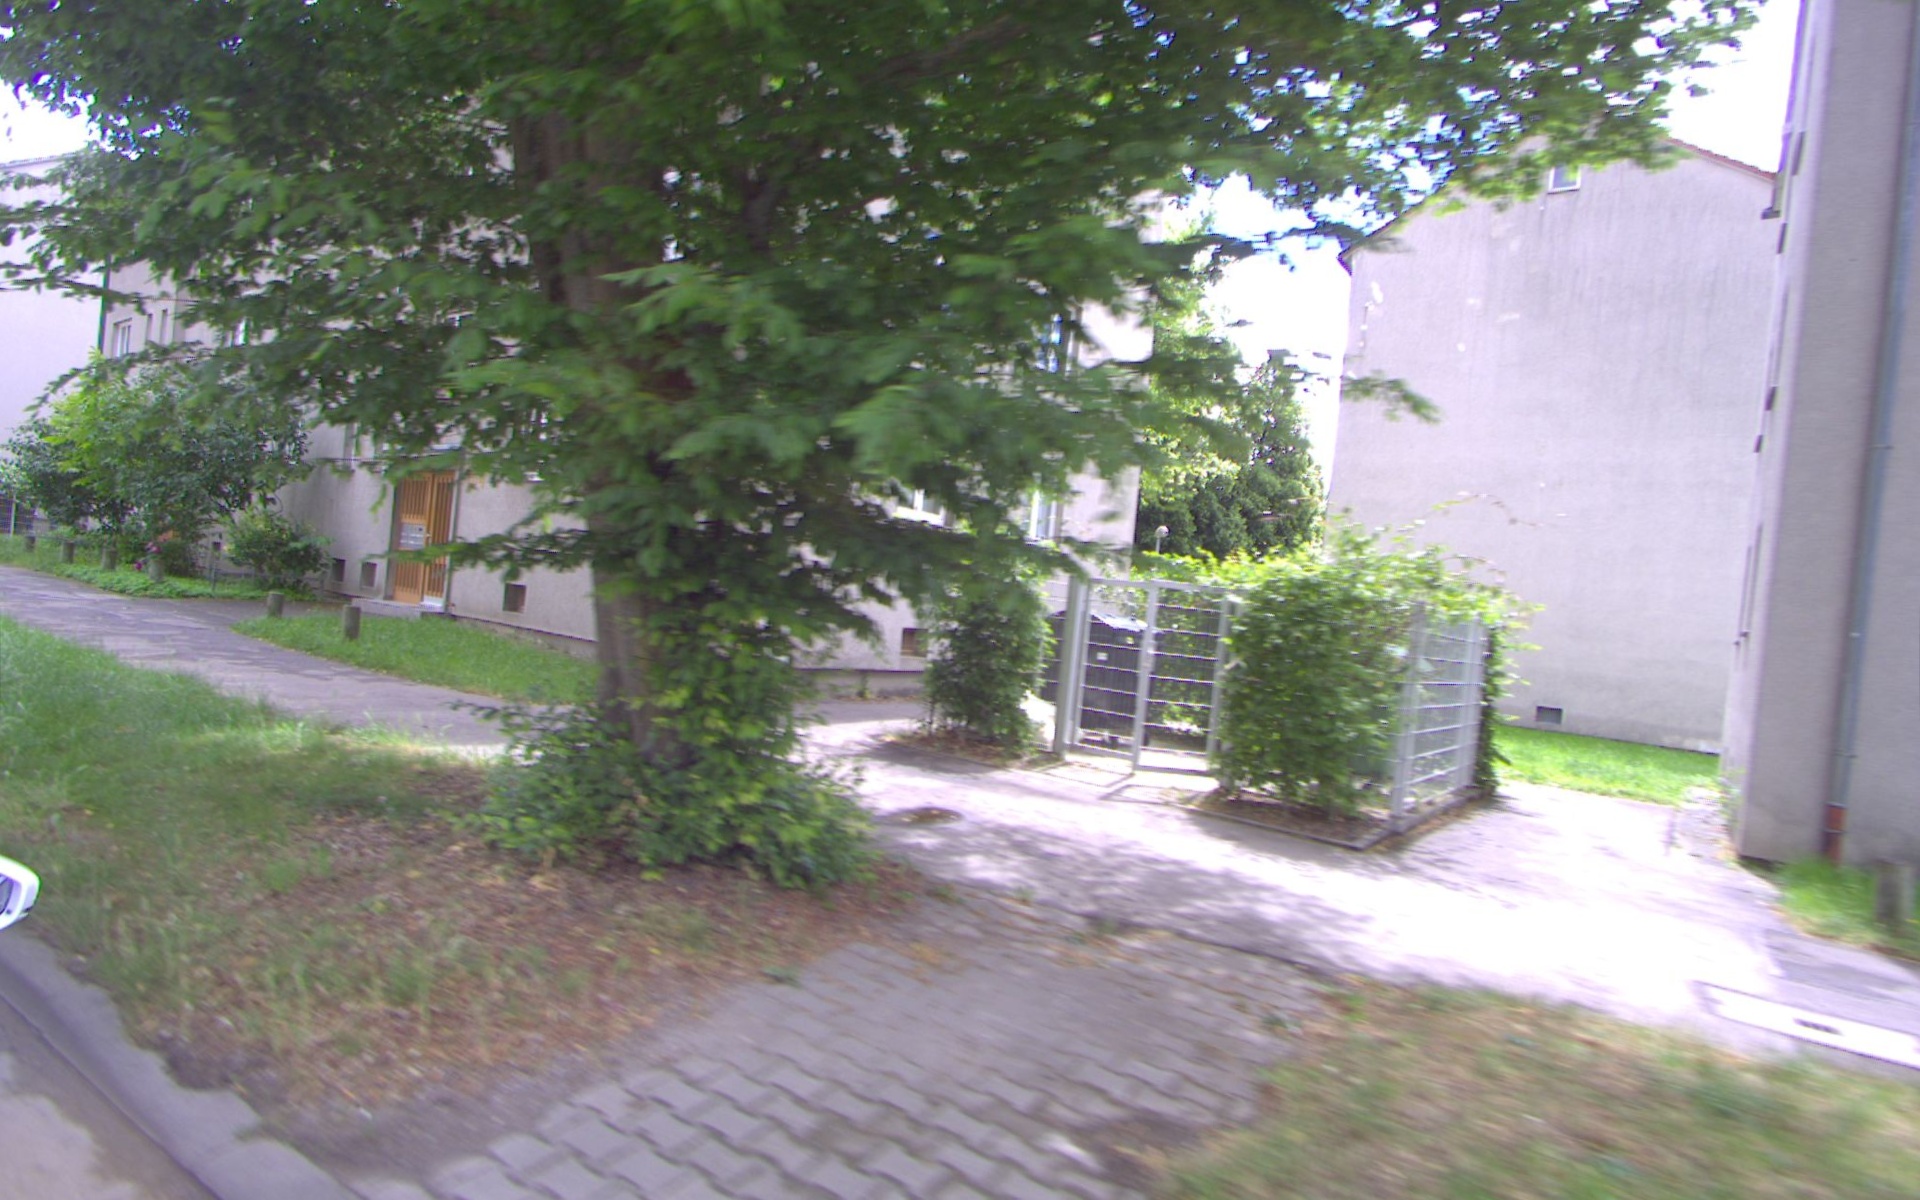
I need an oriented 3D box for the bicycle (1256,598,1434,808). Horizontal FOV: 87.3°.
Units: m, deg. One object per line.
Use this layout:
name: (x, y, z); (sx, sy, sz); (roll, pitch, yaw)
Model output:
bicycle: (3.437, 0.867, 8.918); (1.054, 1.594, 1.348); (7, 1, 33)
